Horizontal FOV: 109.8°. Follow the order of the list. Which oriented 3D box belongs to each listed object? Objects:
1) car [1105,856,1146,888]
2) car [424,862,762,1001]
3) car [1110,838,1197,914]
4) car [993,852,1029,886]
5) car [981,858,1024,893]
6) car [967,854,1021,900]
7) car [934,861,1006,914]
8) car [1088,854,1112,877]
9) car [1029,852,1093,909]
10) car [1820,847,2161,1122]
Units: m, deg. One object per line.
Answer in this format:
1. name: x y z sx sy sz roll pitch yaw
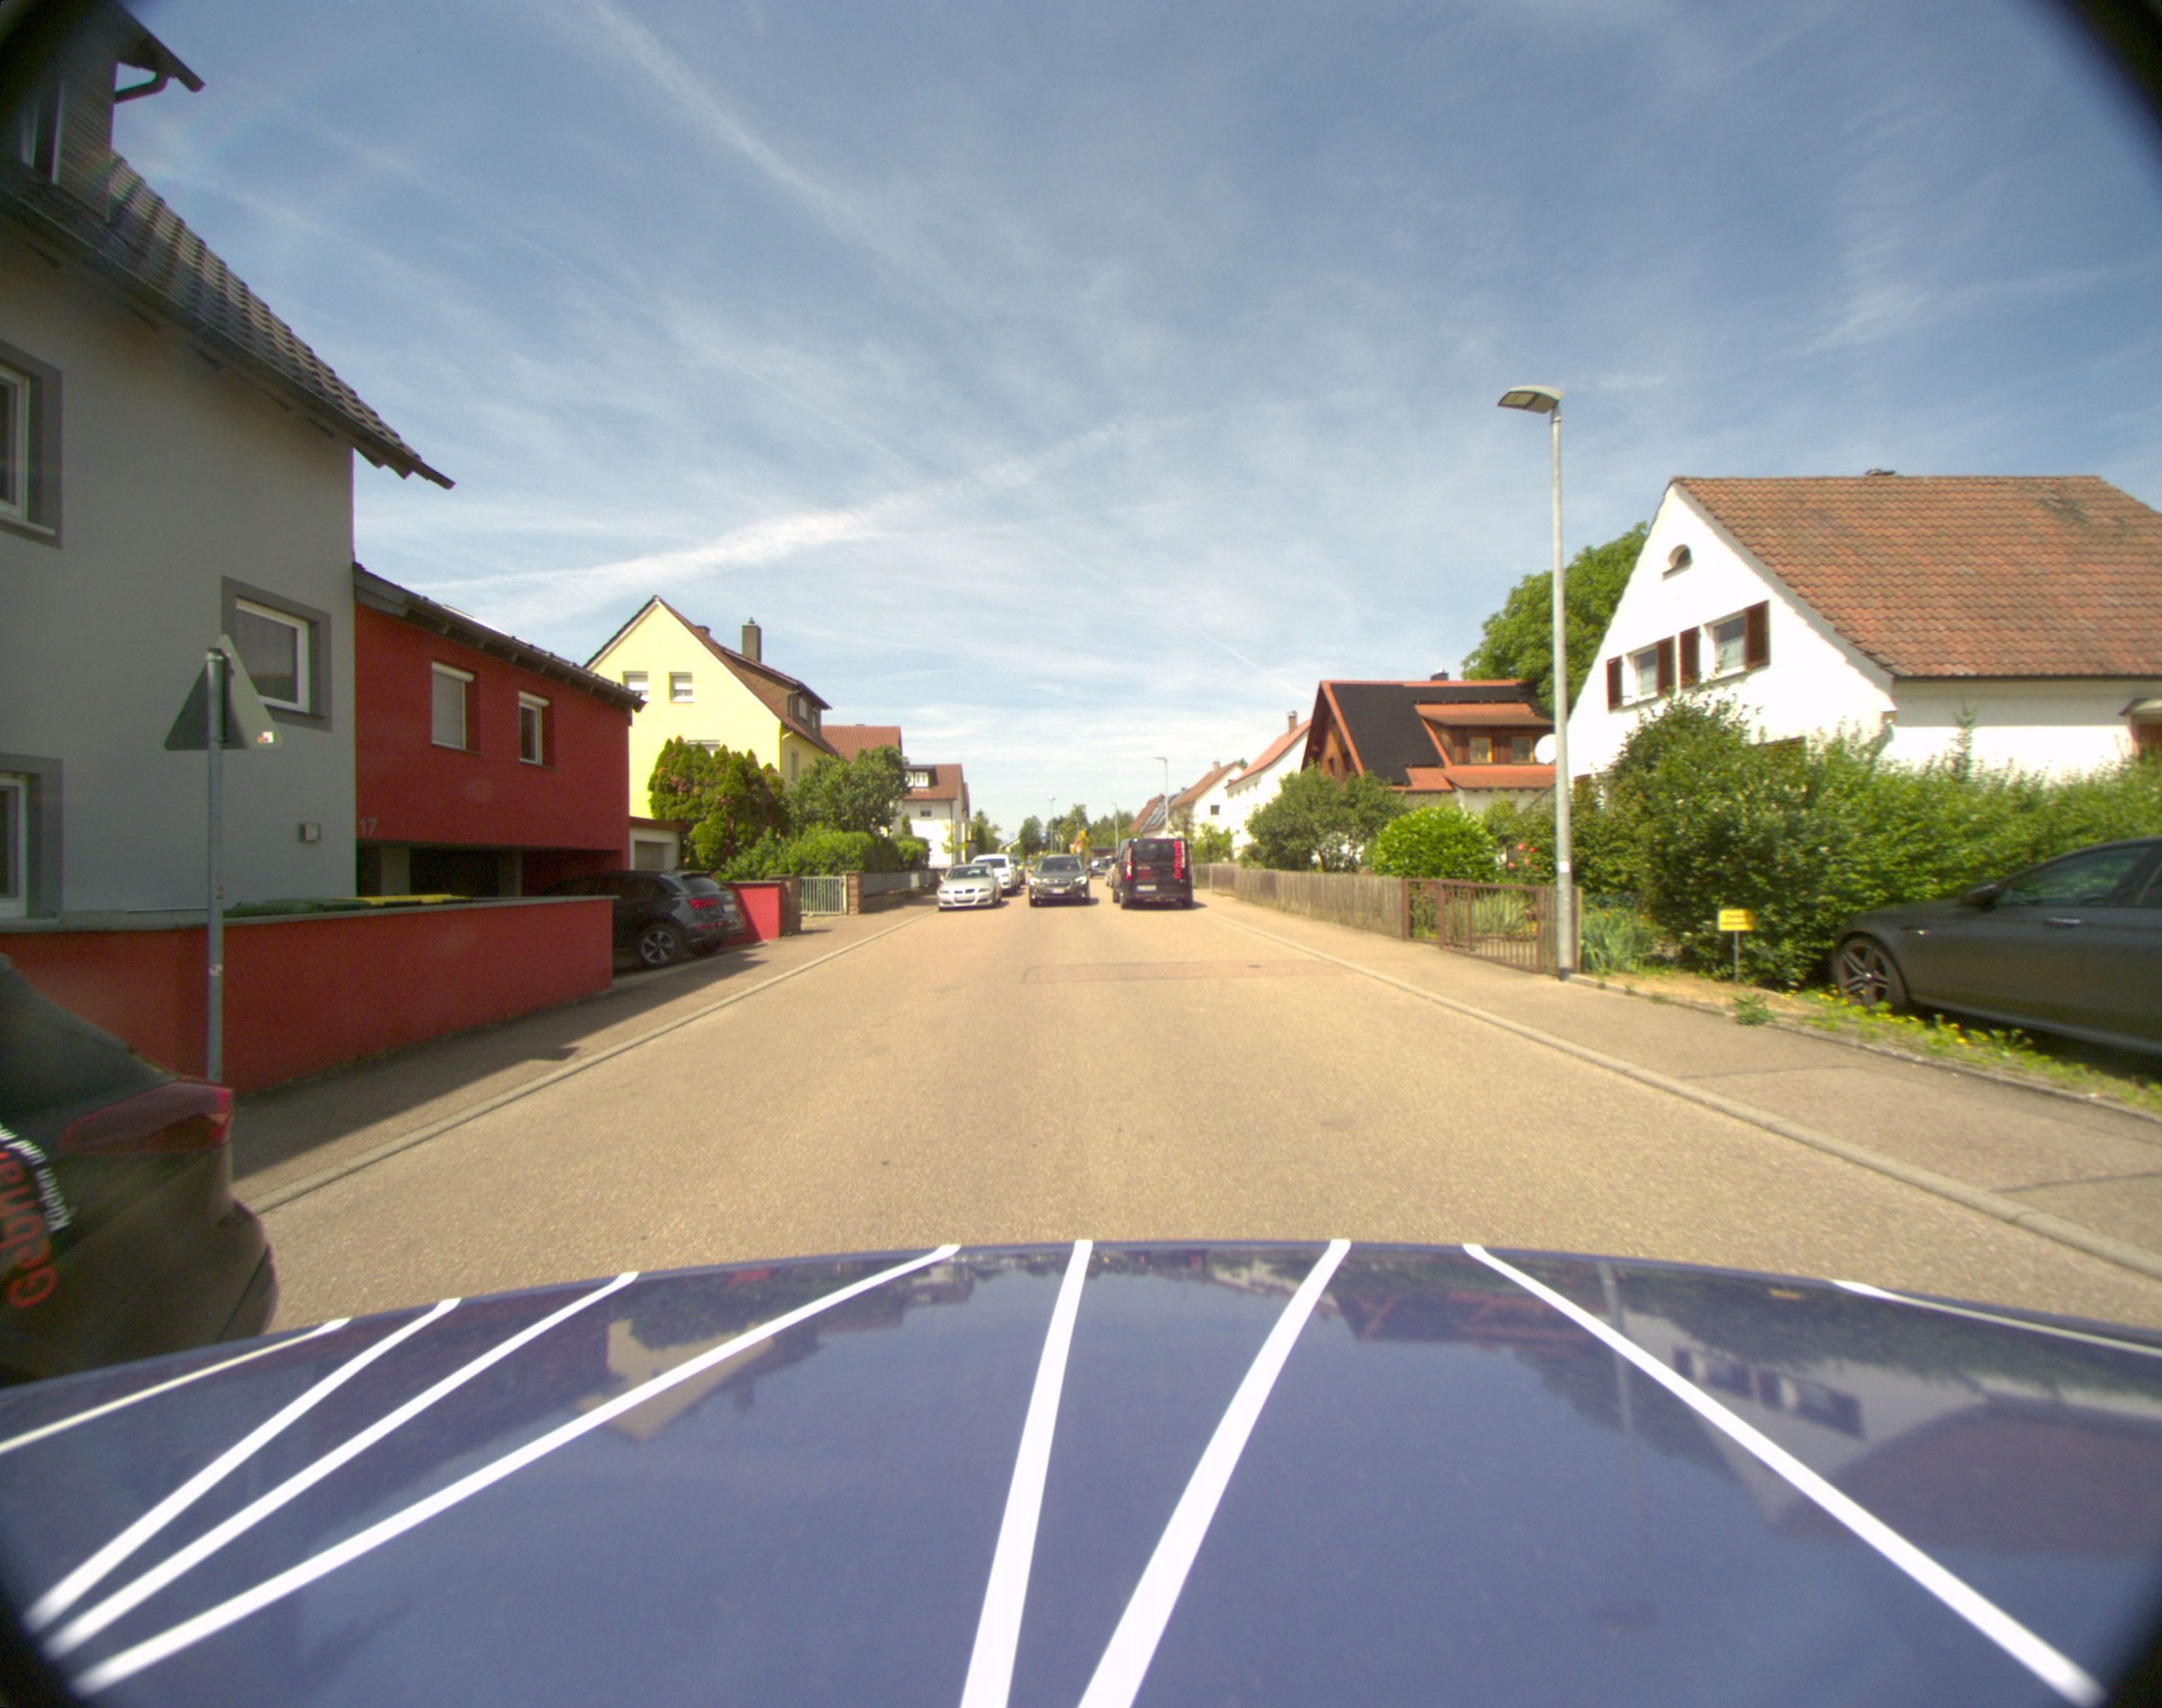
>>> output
1. car: 2.115 0.830 36.704 1.586 1.434 3.264 -1 0 -3
2. car: -8.161 1.244 13.072 4.379 1.659 1.876 -7 1 -3
3. car: 2.021 0.579 22.469 1.973 1.940 4.695 -2 0 -1
4. car: -3.912 0.796 42.937 1.670 1.739 4.055 -3 0 -2
5. car: -3.673 0.964 36.122 1.628 1.460 4.371 -3 0 -2
6. car: -3.485 0.862 30.998 1.740 1.652 4.336 -3 0 -2
7. car: -3.479 1.012 24.599 1.756 1.412 4.419 -3 0 -2
8. car: 1.308 0.775 52.938 1.602 1.450 3.660 -1 0 1
9. car: -0.681 0.778 24.532 1.838 1.638 4.322 -2 0 -2
10. car: 6.761 0.699 4.192 1.829 1.423 4.568 -1 0 15
